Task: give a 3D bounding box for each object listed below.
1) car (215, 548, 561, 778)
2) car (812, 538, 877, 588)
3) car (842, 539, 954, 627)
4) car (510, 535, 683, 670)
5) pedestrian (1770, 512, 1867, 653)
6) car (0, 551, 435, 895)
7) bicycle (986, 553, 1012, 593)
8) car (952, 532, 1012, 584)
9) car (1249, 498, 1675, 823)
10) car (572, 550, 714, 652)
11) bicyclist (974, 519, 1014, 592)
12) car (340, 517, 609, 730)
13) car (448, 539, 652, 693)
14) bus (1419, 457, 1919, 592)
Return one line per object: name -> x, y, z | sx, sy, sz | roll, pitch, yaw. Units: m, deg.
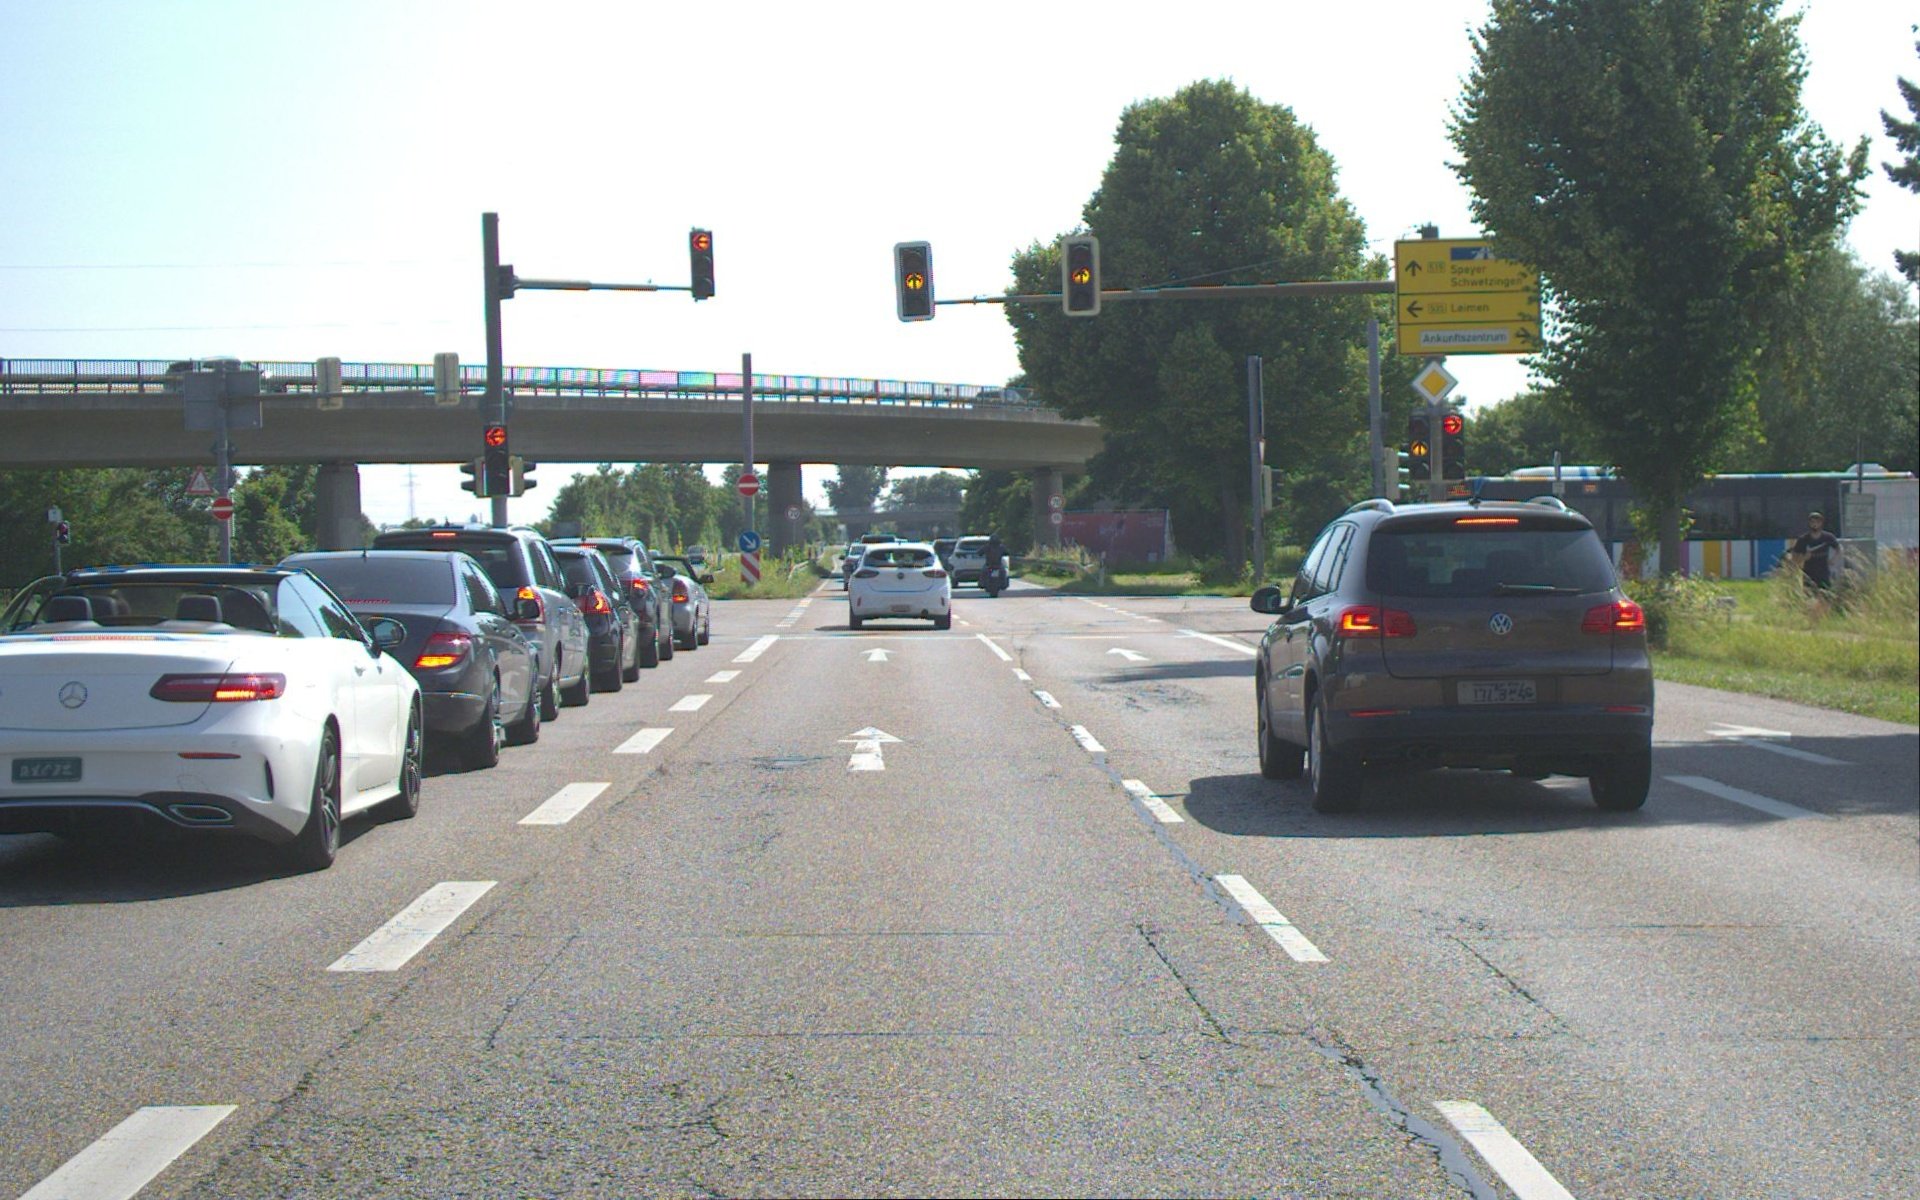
car -> -3.825, 0.360, 23.636 | 1.714, 1.405, 4.355 | 0, 1, -1
car -> -3.570, -1.177, 106.932 | 1.873, 1.487, 4.000 | -1, 1, 0
car -> -1.023, -0.318, 58.612 | 1.851, 1.456, 4.000 | 0, 1, 0
car -> -4.387, -0.012, 41.999 | 1.728, 1.542, 4.098 | -1, 1, -1
pedestrian -> 11.401, -0.240, 45.673 | 0.901, 1.833, 1.195 | -1, 1, -3
car -> -3.754, 0.480, 16.655 | 1.803, 1.420, 4.642 | 0, 1, -1
bicycle -> 1.019, -0.712, 89.729 | 0.600, 0.980, 2.361 | -1, 1, -1
car -> 0.682, -1.360, 110.534 | 1.873, 1.634, 4.000 | 1, 1, 0
car -> 2.740, 0.281, 19.656 | 1.755, 1.650, 4.147 | 0, 1, -1
car -> -4.446, -0.015, 48.667 | 1.673, 1.330, 4.098 | -1, 1, -1
bicyclist -> 0.890, -1.162, 90.091 | 1.007, 1.880, 1.327 | -1, 1, 0
car -> -4.119, 0.144, 29.788 | 1.741, 1.666, 4.357 | -1, 1, -1
car -> -4.173, 0.123, 35.513 | 1.666, 1.469, 4.098 | -1, 1, -1
bus -> 17.346, -1.837, 83.762 | 11.935, 2.867, 2.943 | -2, 1, -16
